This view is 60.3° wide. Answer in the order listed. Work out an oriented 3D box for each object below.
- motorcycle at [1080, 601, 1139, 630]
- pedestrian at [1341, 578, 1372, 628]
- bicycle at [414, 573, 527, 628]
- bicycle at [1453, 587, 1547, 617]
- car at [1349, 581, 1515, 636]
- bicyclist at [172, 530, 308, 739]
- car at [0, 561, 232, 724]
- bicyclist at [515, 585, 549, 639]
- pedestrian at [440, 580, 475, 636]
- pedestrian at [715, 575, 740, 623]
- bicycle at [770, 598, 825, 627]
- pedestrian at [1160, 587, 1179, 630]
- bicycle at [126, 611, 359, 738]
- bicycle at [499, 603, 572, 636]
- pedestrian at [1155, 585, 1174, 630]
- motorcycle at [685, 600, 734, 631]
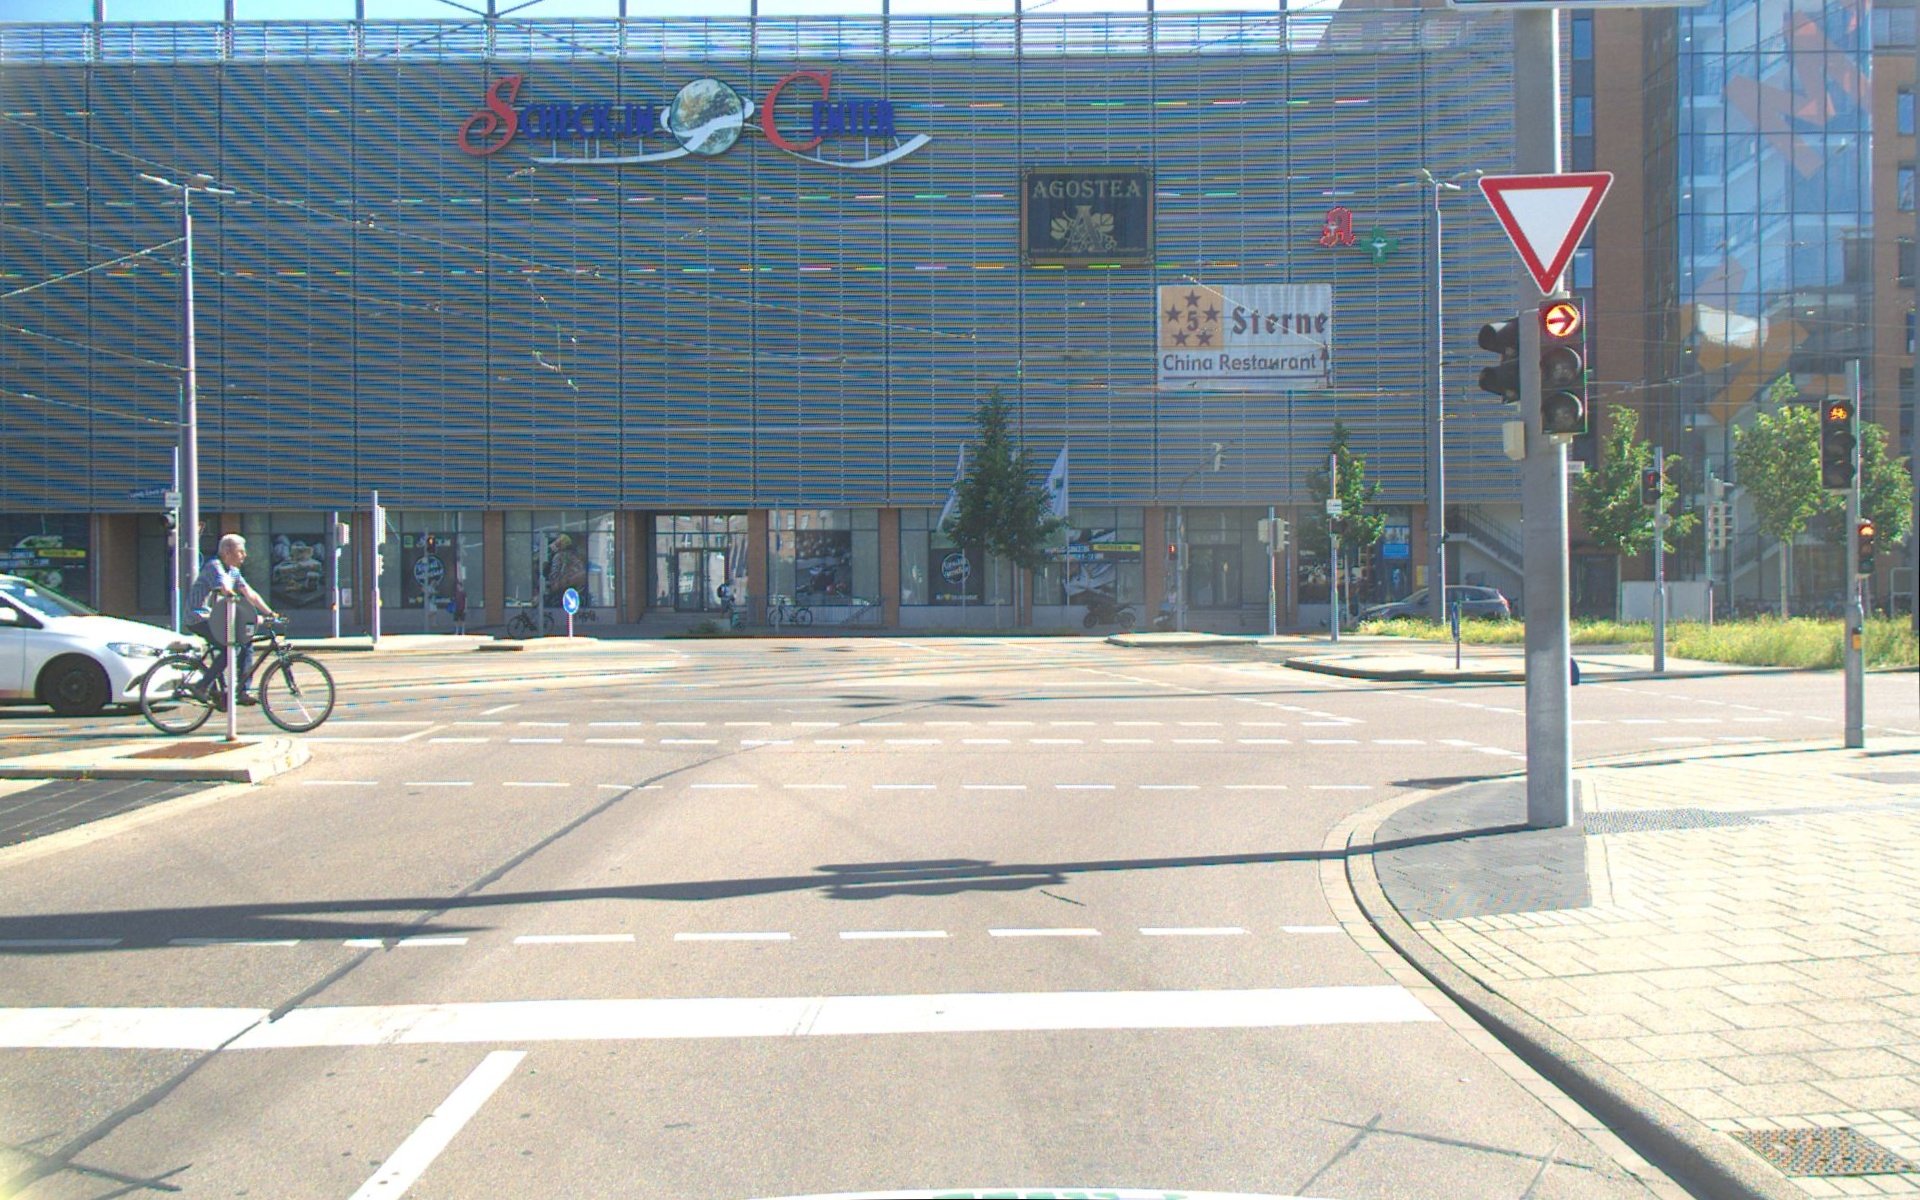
[{"bbox_3d":[5.699,0.580,63.077,2.157,1.061,1.061,1,1,-1],"label":"motorcycle"},{"bbox_3d":[14.277,0.116,59.560,0.837,1.768,0.752,0,0,-7],"label":"pedestrian"},{"bbox_3d":[-18.766,-0.001,63.471,3.905,2.049,1.330,1,1,-1],"label":"bicycle"},{"bbox_3d":[20.801,0.081,63.770,3.289,1.096,1.117,1,1,5],"label":"bicycle"},{"bbox_3d":[13.688,0.236,48.045,4.395,1.521,1.494,0,0,-1],"label":"car"},{"bbox_3d":[-6.710,0.308,15.447,0.883,1.892,0.854,0,0,-1],"label":"bicyclist"},{"bbox_3d":[-10.481,0.421,17.867,4.401,1.663,1.837,0,1,-5],"label":"car"},{"bbox_3d":[-14.690,0.411,56.755,0.838,1.834,0.803,0,0,-42],"label":"bicyclist"},{"bbox_3d":[-17.319,0.270,57.036,0.890,1.901,0.816,0,0,42],"label":"pedestrian"},{"bbox_3d":[-8.781,-0.037,62.514,0.831,1.794,0.620,0,0,-2],"label":"pedestrian"},{"bbox_3d":[-6.154,0.480,62.716,1.985,1.078,1.145,0,0,-1],"label":"bicycle"},{"bbox_3d":[7.379,0.298,58.201,0.577,1.488,0.658,0,0,-1],"label":"pedestrian"},{"bbox_3d":[-6.667,0.680,15.440,1.791,1.135,0.853,0,0,-1],"label":"bicycle"},{"bbox_3d":[-14.581,0.673,56.876,2.225,1.089,1.030,-1,0,-42],"label":"bicycle"},{"bbox_3d":[7.088,0.261,57.399,0.577,1.561,0.658,0,0,-1],"label":"pedestrian"},{"bbox_3d":[-8.756,0.539,57.901,1.616,1.078,0.497,0,0,9],"label":"motorcycle"}]
